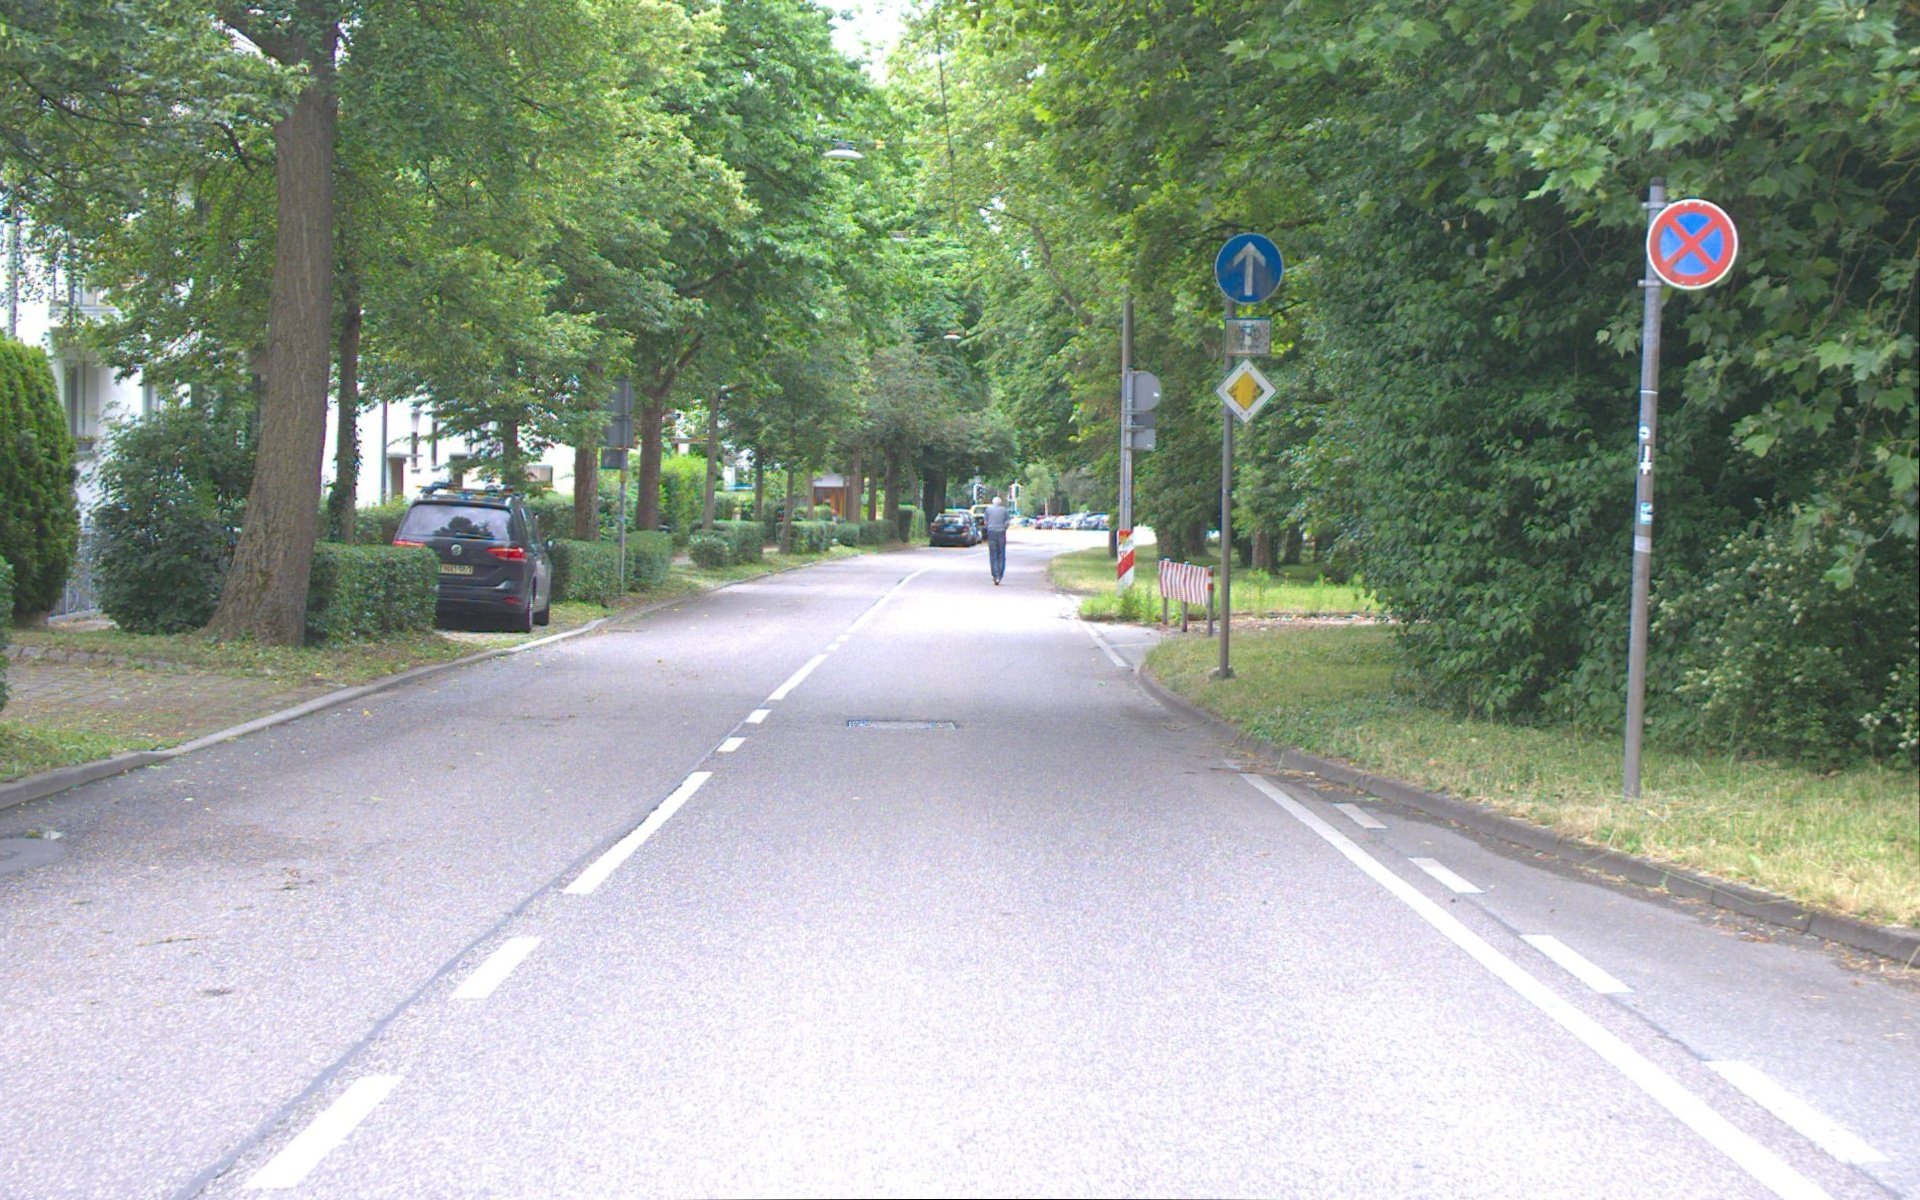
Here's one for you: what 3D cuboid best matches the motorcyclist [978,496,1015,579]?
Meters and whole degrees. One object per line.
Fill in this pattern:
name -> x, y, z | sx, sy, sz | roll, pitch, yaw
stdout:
motorcyclist -> 0.790, -1.334, 73.586 | 0.673, 1.755, 0.639 | 3, 1, 5

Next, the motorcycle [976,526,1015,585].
motorcycle -> 0.764, -0.958, 73.460 | 0.673, 1.213, 1.273 | 3, 1, 5

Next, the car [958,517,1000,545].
car -> 1.030, -3.650, 181.353 | 1.892, 1.405, 4.553 | 0, 0, 4

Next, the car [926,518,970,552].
car -> -0.514, -2.857, 150.670 | 1.794, 1.467, 4.418 | 1, 1, 1

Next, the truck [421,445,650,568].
truck -> -11.488, -2.532, 93.361 | 5.796, 3.120, 2.518 | 2, 1, 1

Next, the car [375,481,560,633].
car -> -6.091, -0.561, 42.945 | 1.824, 1.748, 4.454 | 2, 1, -3
